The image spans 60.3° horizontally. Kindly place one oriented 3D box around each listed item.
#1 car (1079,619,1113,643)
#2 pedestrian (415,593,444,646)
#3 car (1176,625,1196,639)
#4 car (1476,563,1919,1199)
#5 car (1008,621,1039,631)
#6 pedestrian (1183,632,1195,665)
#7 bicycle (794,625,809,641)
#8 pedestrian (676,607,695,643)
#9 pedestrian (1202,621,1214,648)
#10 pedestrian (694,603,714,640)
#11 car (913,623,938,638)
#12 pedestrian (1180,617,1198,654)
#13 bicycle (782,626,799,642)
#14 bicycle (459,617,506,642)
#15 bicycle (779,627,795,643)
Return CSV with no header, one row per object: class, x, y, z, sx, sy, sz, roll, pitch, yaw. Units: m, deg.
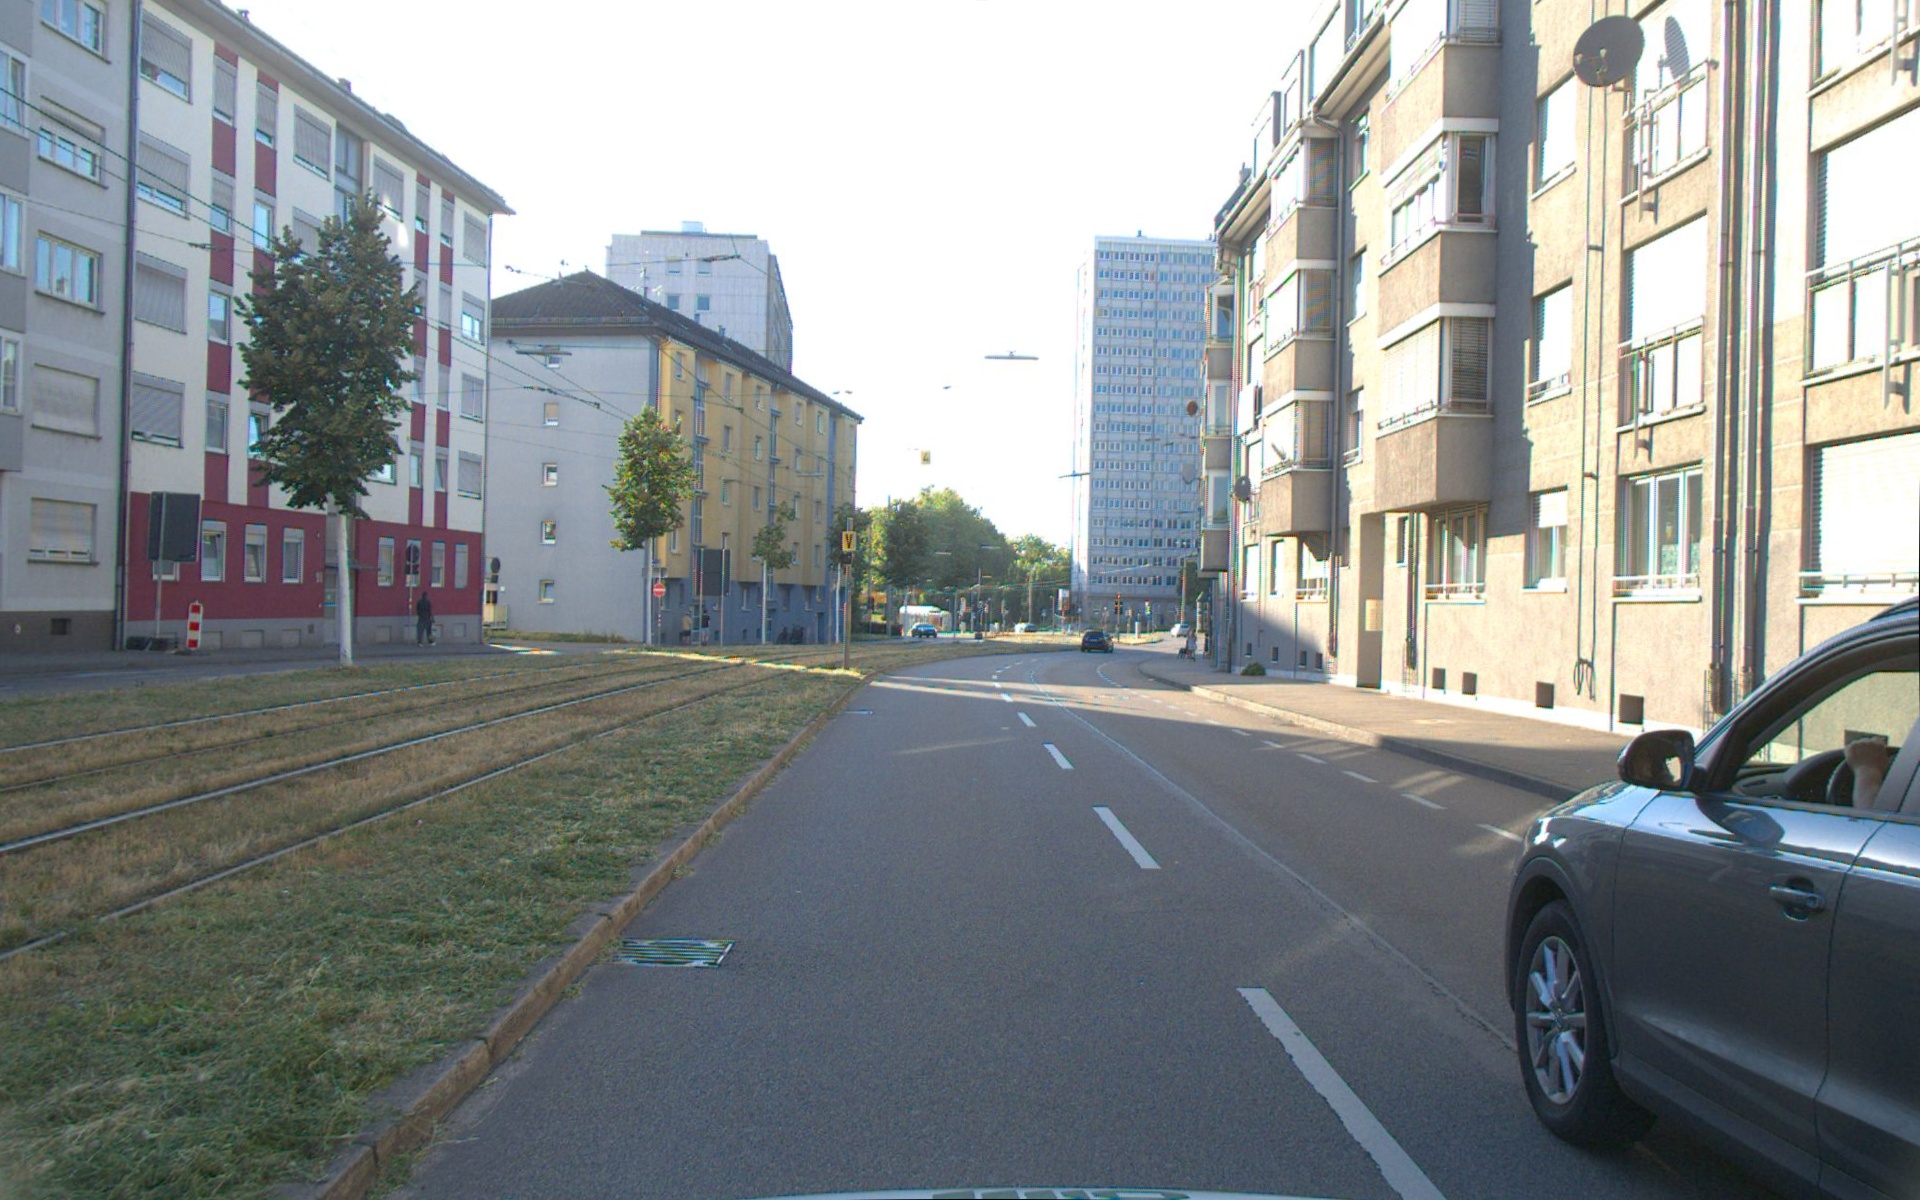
car,8.806,1.985,106.653,1.734,1.447,3.859,0,0,11
pedestrian,-17.354,0.626,54.084,0.600,1.719,0.792,1,-1,4
car,25.038,3.520,182.936,1.951,1.557,4.003,0,0,11
car,2.634,0.747,3.476,1.731,1.615,4.067,1,0,-2
car,8.534,3.537,223.246,3.807,1.311,1.850,1,0,-16
pedestrian,9.583,2.039,69.232,0.503,1.368,0.609,0,-2,6
bicycle,-9.963,2.077,104.061,0.418,0.977,1.913,0,-1,11
pedestrian,-13.670,1.240,82.439,0.603,1.723,0.707,5,0,9
pedestrian,12.161,1.691,81.038,0.574,1.273,0.585,0,-1,9
pedestrian,-12.780,1.057,82.633,0.580,1.803,0.886,5,0,9
car,-3.452,3.077,167.441,1.755,1.495,4.799,-1,-2,8
pedestrian,11.301,1.746,81.584,0.812,1.803,0.997,0,-1,9
bicycle,-10.399,2.097,101.604,0.418,0.941,1.913,4,0,11
bicycle,-21.261,1.312,73.724,1.918,1.094,0.602,1,-1,-8
bicycle,-10.486,2.101,100.325,0.418,0.941,1.913,4,0,11
